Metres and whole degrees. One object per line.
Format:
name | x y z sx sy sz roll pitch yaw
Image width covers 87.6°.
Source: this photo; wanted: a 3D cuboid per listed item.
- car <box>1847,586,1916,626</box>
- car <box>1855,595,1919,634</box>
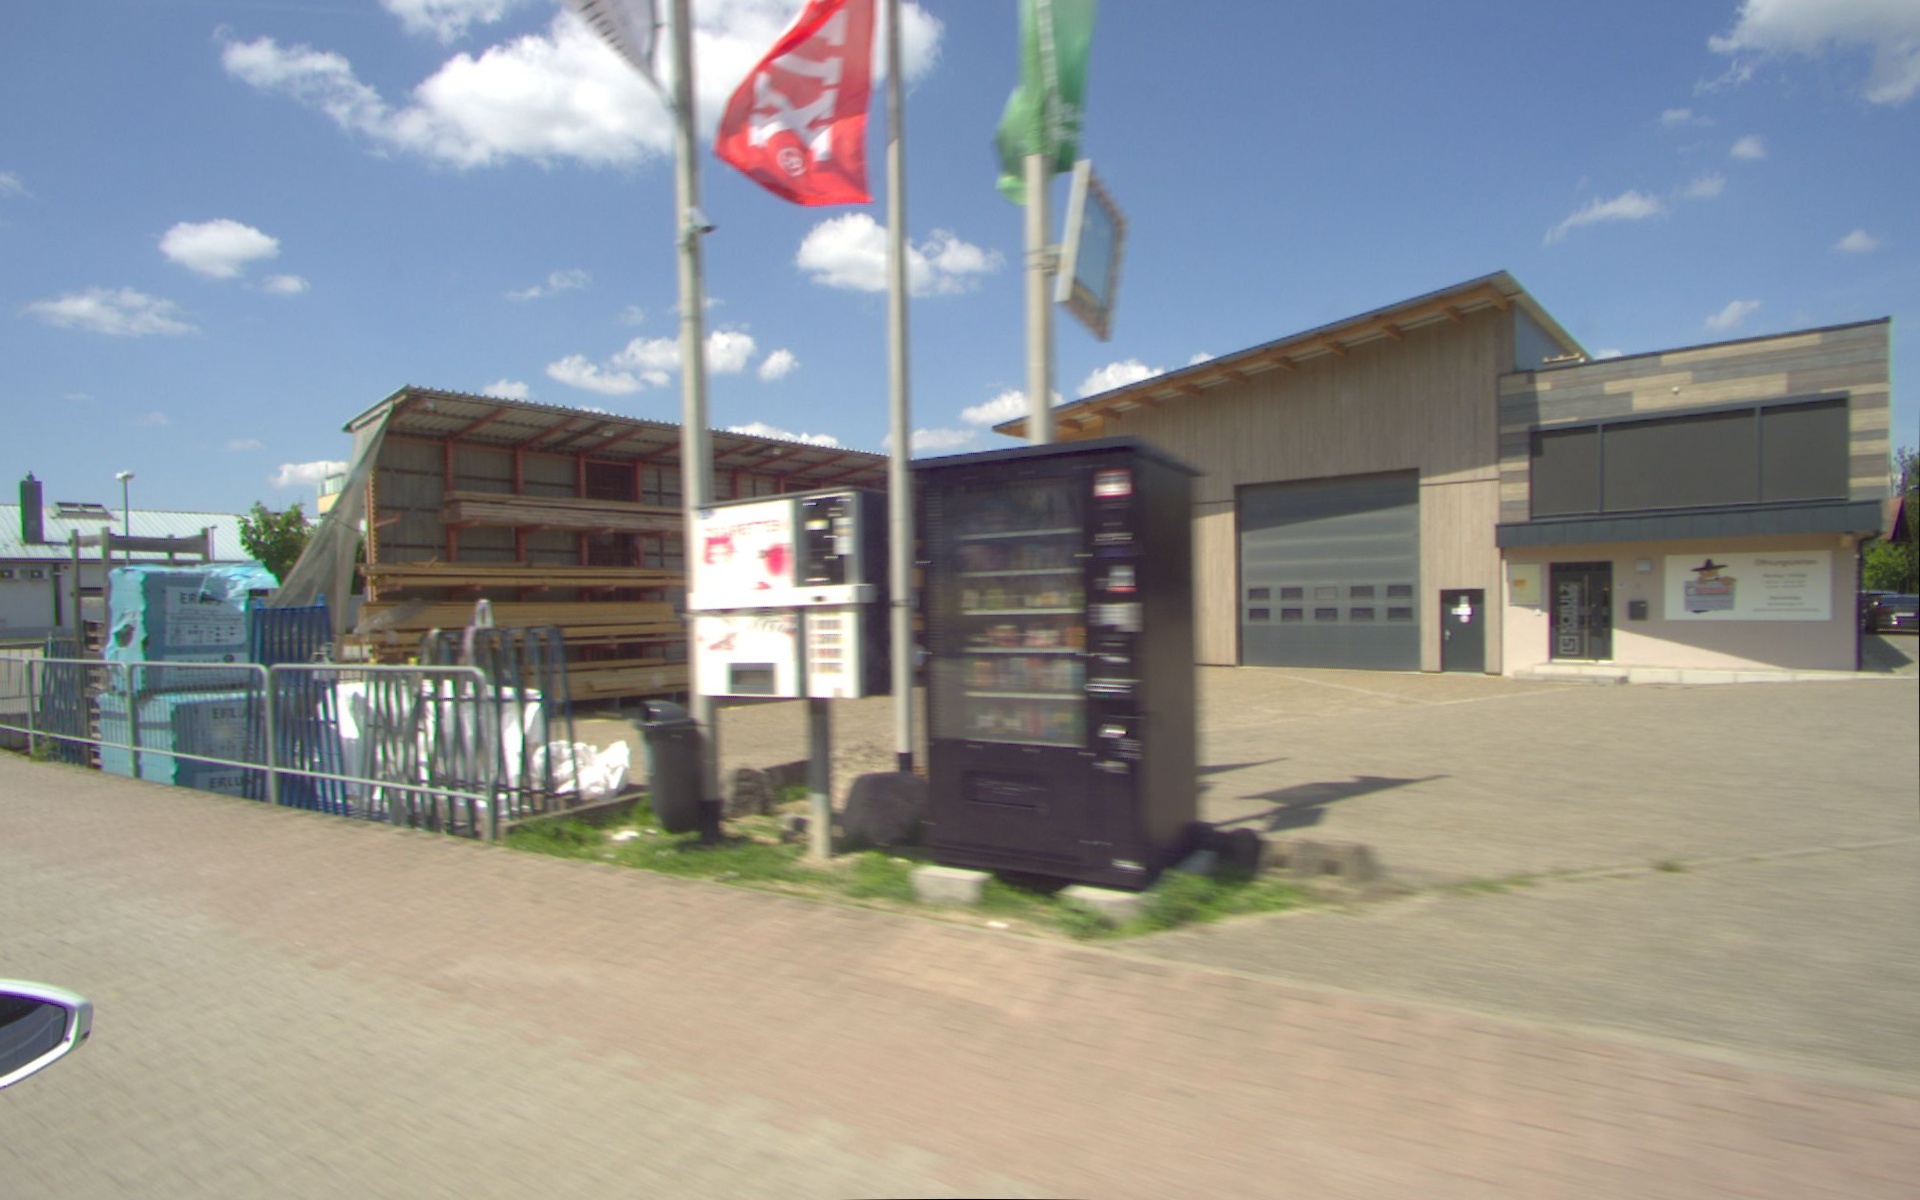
car | 43.219 0.304 47.044 1.975 1.772 3.973 -1 -1 37
car | 34.686 0.541 37.107 1.975 1.394 3.972 -1 -1 38
